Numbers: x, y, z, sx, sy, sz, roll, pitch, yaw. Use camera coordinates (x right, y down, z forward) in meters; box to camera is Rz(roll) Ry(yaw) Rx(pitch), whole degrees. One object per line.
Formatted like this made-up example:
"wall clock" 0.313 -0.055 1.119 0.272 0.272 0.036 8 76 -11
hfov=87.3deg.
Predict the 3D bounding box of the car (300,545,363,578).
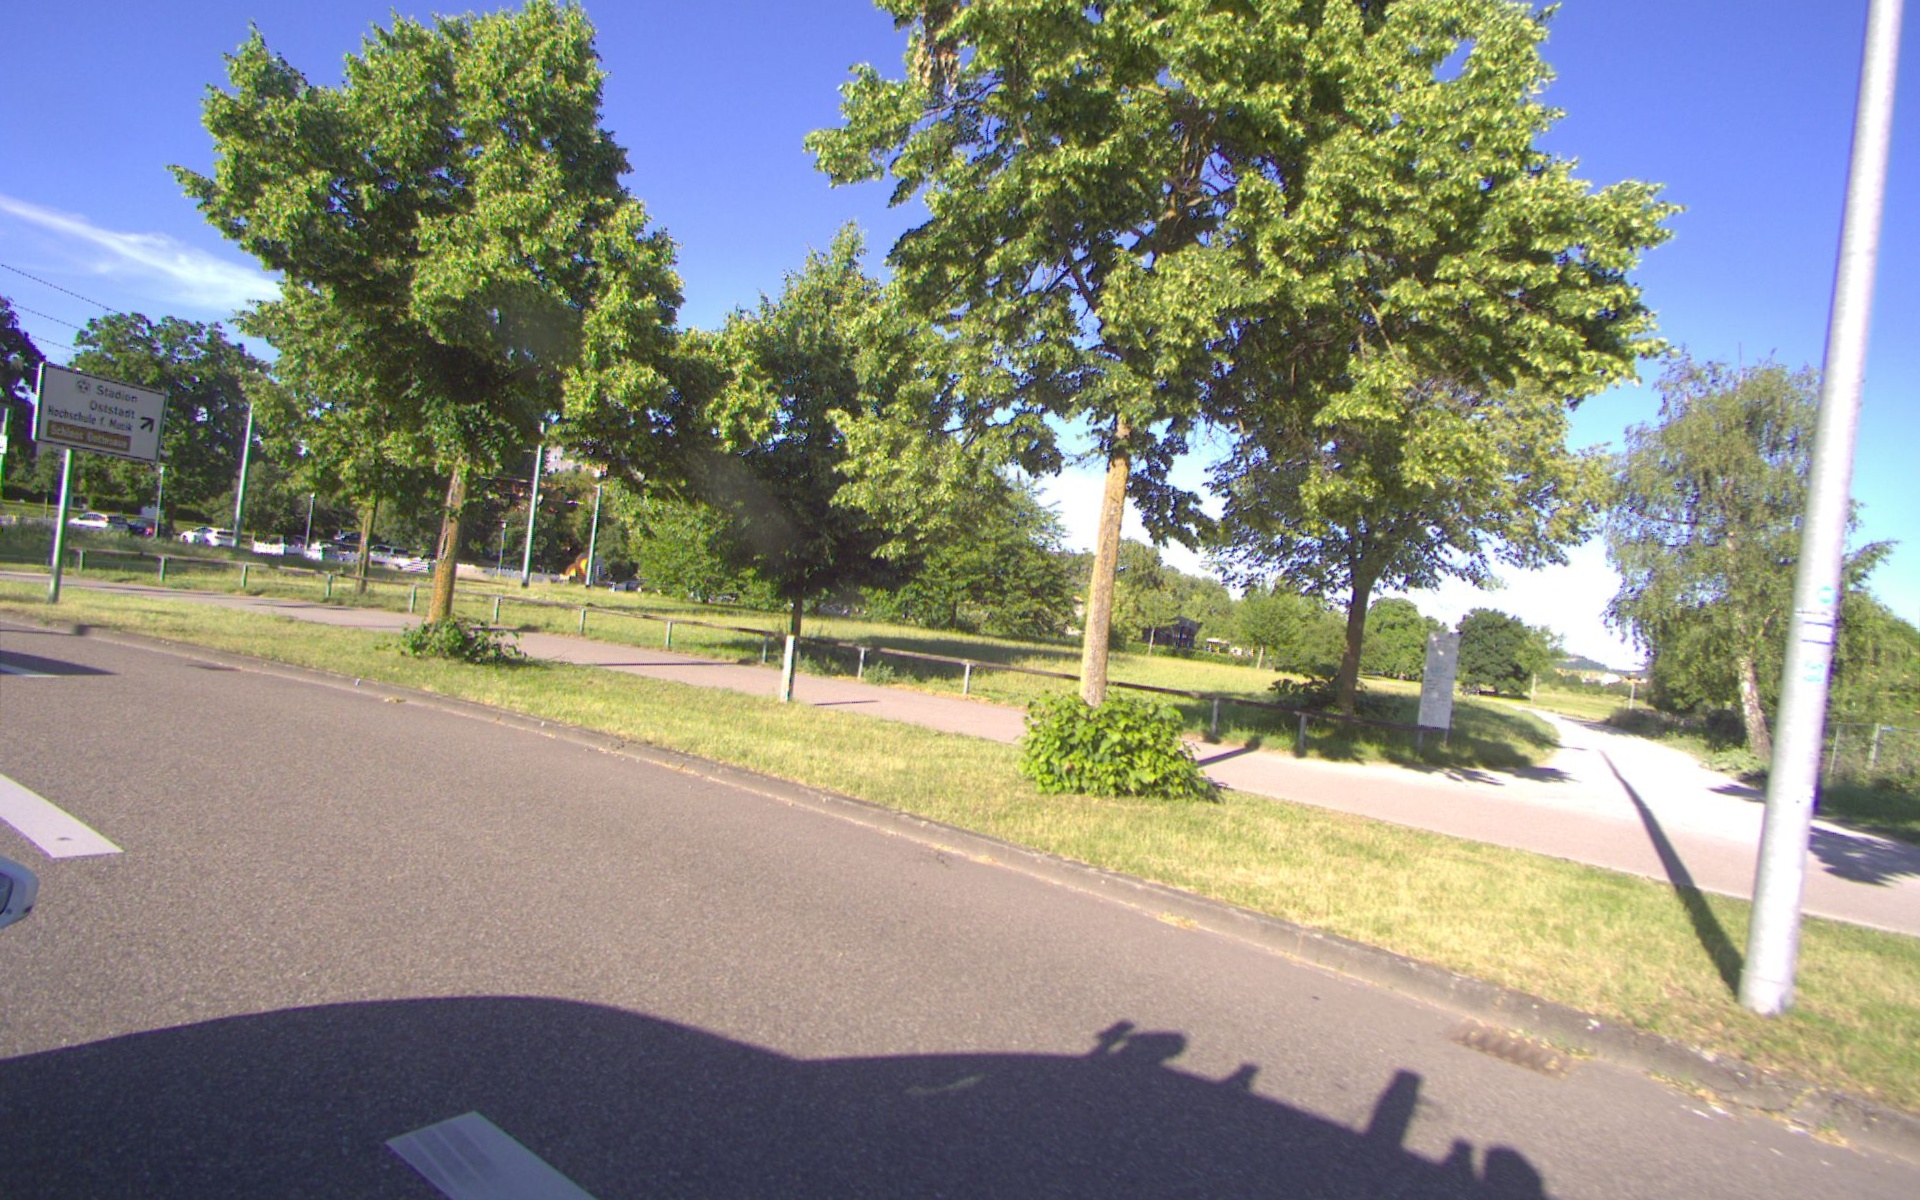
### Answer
"car" -48.380 -2.958 77.481 3.927 2.123 2.001 4 -2 22

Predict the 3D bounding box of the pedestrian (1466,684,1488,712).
"pedestrian" 30.046 5.700 58.493 0.784 1.457 0.658 7 0 -23

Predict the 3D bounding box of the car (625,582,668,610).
"car" -34.813 -0.464 111.746 3.927 2.683 2.001 4 -2 22

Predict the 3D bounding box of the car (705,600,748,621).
"car" -24.580 1.093 105.869 3.927 1.776 1.916 4 -3 22

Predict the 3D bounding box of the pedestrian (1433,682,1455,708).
"pedestrian" 29.122 5.721 60.560 0.784 1.457 0.683 7 0 -23

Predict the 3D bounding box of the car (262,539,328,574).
"car" -49.381 -3.205 74.722 3.927 2.123 2.001 4 -2 22

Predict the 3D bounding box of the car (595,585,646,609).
"car" -30.970 -0.298 91.761 3.927 1.776 2.001 4 -3 22

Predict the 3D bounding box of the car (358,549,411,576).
"car" -46.886 -3.044 81.947 3.779 1.800 1.694 4 -3 25

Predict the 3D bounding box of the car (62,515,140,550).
"car" -54.434 -4.295 63.756 3.927 1.743 2.001 4 -3 22

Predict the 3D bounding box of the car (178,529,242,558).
"car" -51.752 -3.883 69.412 3.738 1.574 1.834 4 -3 23

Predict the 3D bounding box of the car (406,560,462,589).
"car" -45.224 -2.200 86.507 3.927 1.981 2.001 4 -3 22

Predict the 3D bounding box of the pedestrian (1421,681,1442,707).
"pedestrian" 28.979 5.776 61.840 0.784 1.457 0.683 7 0 -23

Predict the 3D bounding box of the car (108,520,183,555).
"car" -53.016 -4.084 65.518 3.927 1.789 2.001 4 -3 22

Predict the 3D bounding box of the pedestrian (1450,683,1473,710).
"pedestrian" 29.829 5.749 59.793 0.784 1.457 0.770 7 0 -23
